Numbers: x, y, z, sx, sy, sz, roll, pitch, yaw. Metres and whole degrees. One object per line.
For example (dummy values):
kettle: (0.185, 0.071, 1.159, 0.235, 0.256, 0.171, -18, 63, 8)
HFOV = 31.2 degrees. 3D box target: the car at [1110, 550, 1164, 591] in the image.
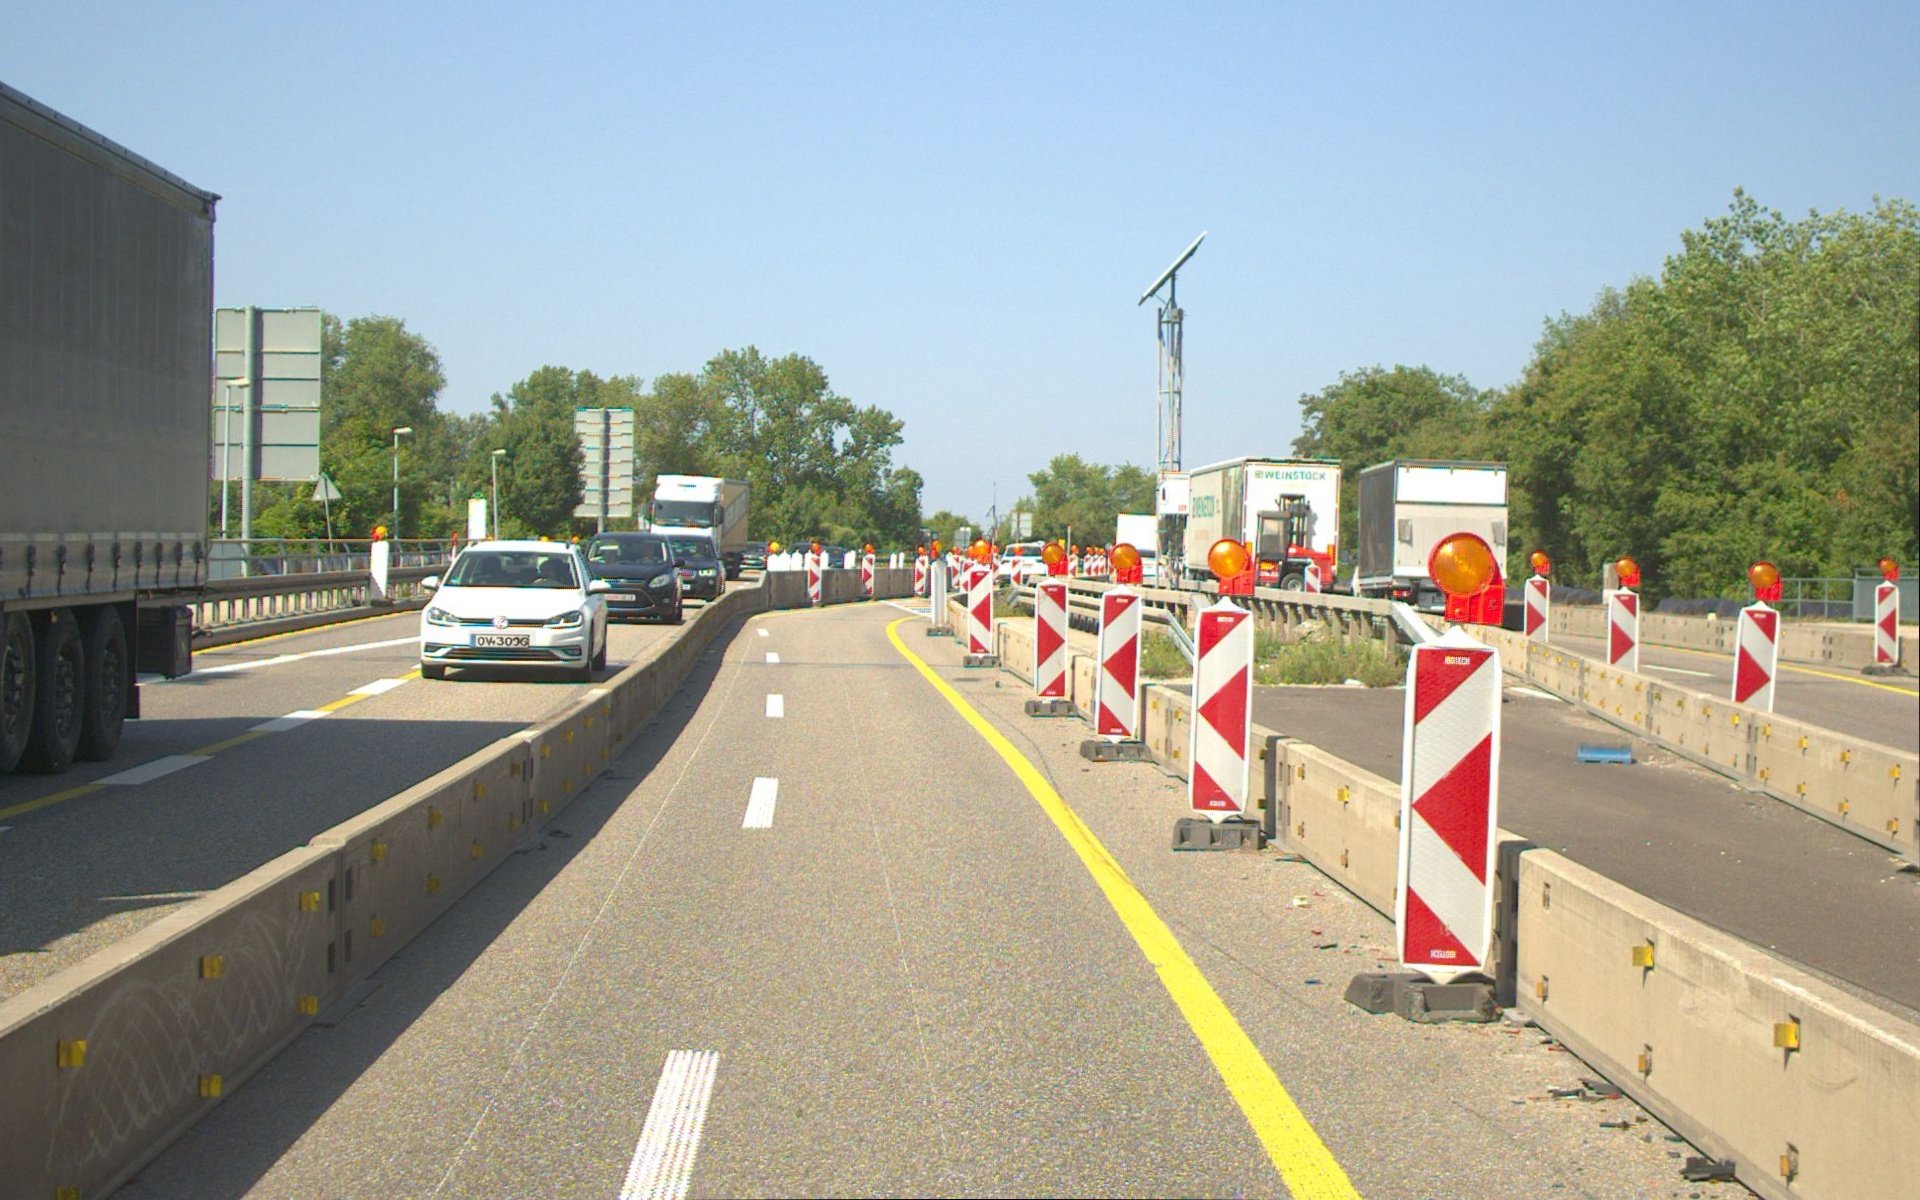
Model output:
car: (7.774, -1.318, 151.240, 1.993, 1.770, 4.000, 0, 1, -2)

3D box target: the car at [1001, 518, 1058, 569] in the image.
car: (2.462, -2.020, 122.528, 1.816, 1.770, 4.000, 0, 1, -2)

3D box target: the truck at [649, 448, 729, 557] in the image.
truck: (-10.460, -3.731, 133.074, 2.749, 4.122, 6.416, 0, 1, -2)

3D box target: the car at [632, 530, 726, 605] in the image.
car: (-6.389, -0.758, 78.680, 1.863, 1.626, 4.566, 1, 1, -2)

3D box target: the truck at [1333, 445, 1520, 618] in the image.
truck: (9.658, -1.443, 71.947, 2.634, 3.416, 7.234, 0, 1, -2)

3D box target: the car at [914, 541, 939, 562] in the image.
car: (-2.442, -3.547, 252.122, 1.737, 1.471, 4.646, 1, 1, 0)

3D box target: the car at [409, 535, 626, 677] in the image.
car: (-4.698, 0.023, 37.022, 1.814, 1.412, 4.153, 1, 1, 0)

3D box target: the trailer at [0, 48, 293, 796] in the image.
trailer: (-6.605, -1.012, 20.587, 2.803, 4.029, 13.469, 0, 1, -1)

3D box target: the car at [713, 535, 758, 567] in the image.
car: (-11.068, -2.437, 169.755, 1.932, 1.503, 4.469, 1, 1, -1)

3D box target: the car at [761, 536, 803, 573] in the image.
car: (-7.888, -2.040, 152.768, 1.790, 1.563, 3.873, 1, 1, -2)

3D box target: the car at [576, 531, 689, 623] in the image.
car: (-5.765, -0.429, 60.854, 1.738, 1.546, 3.943, 1, 1, -2)

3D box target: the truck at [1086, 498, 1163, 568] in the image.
truck: (10.188, -4.161, 214.180, 4.220, 4.252, 10.241, 0, 1, 0)

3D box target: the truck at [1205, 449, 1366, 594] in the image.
truck: (8.759, -2.099, 93.479, 3.388, 3.761, 7.234, 0, 1, -2)
